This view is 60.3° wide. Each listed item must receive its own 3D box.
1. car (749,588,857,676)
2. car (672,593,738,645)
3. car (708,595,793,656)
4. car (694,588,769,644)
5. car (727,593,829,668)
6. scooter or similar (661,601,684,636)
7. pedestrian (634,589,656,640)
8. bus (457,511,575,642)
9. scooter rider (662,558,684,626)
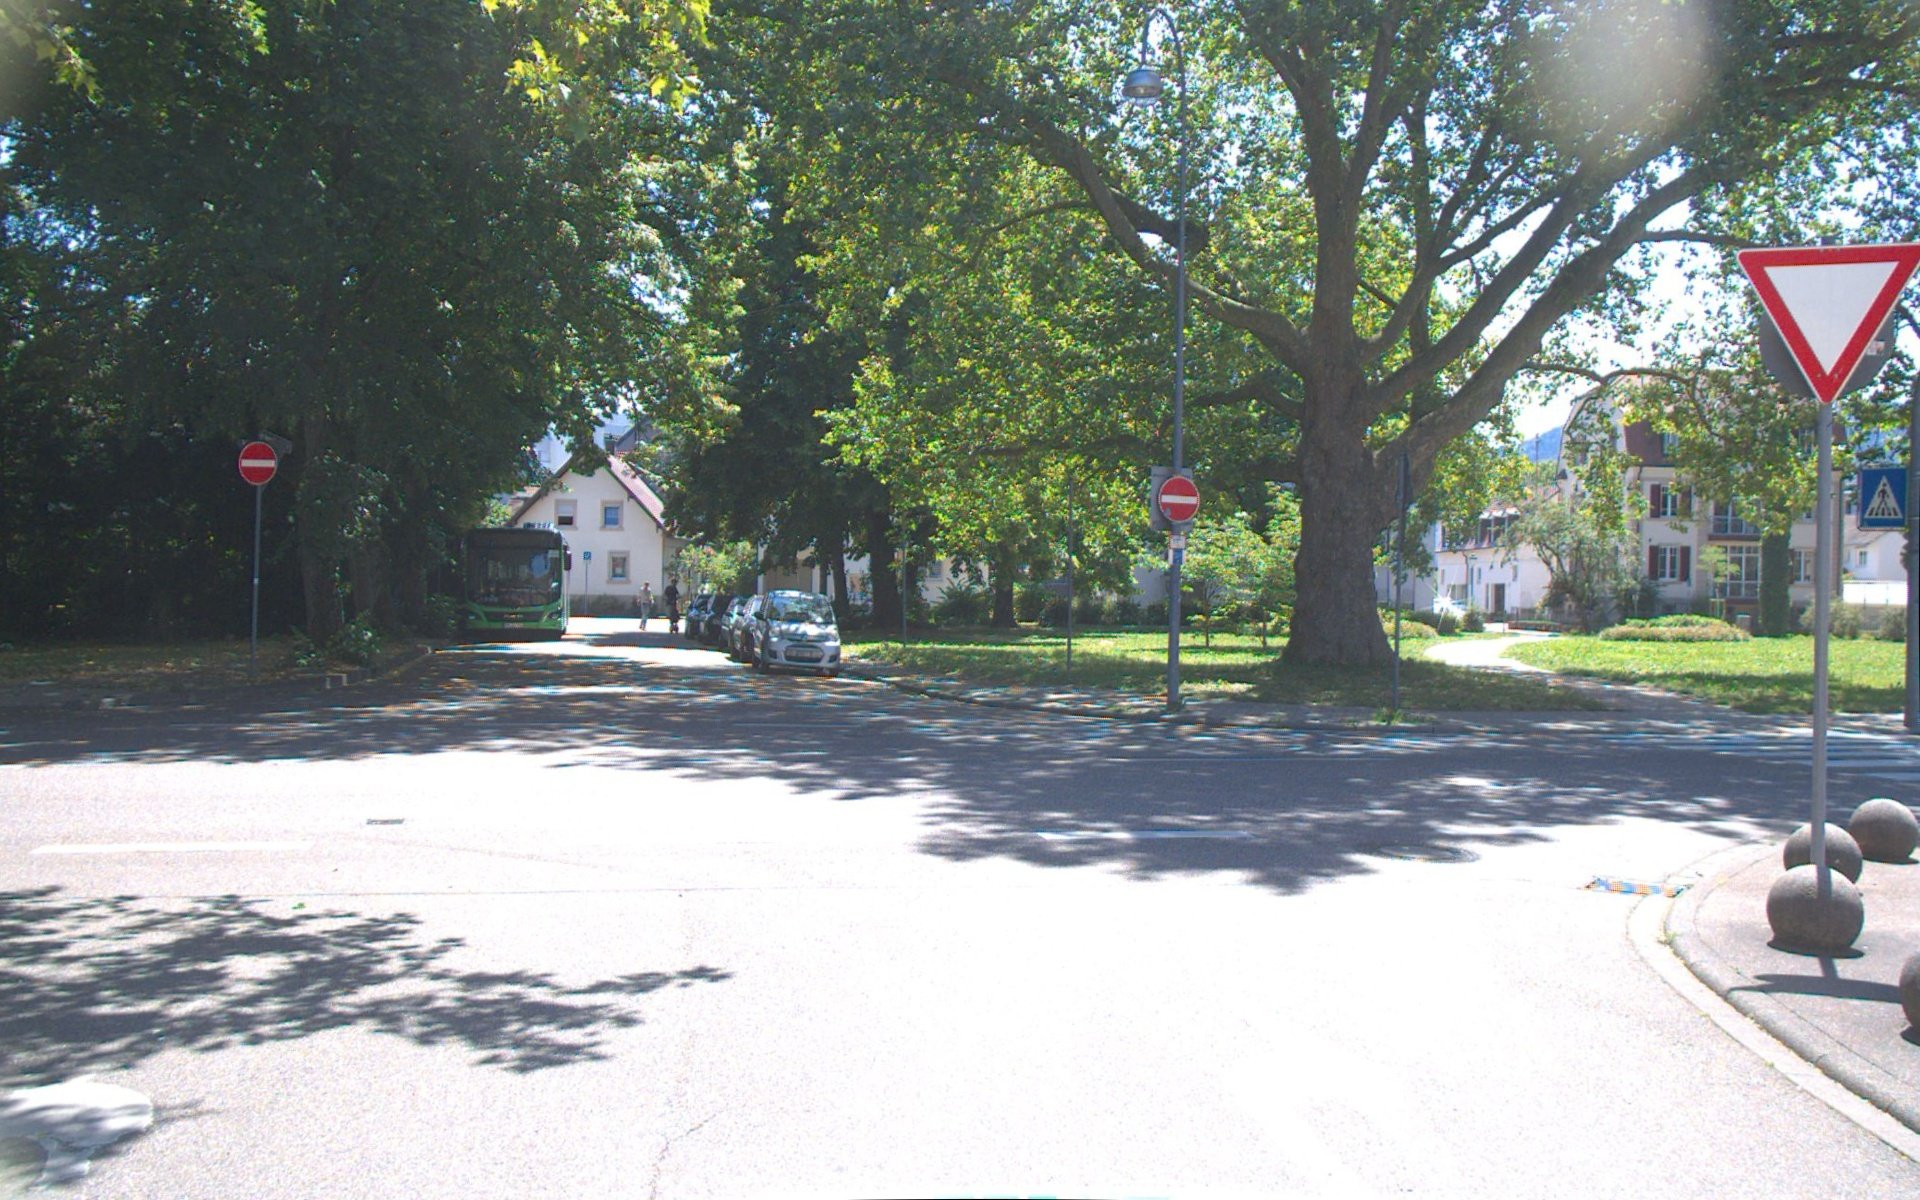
[{"bbox_3d":[-3.050,0.569,31.547,1.567,1.523,3.474,2,0,-13],"label":"car"},{"bbox_3d":[-8.016,0.580,51.794,1.724,1.519,3.904,1,0,-13],"label":"car"},{"bbox_3d":[-5.541,0.622,43.319,1.720,1.464,4.754,1,0,-13],"label":"car"},{"bbox_3d":[-6.663,0.437,47.921,1.724,1.519,4.361,1,0,-13],"label":"car"},{"bbox_3d":[-4.114,0.628,36.819,1.720,1.464,4.488,2,0,-13],"label":"car"},{"bbox_3d":[-10.106,0.637,58.085,0.725,1.204,1.515,1,0,-12],"label":"scooter or similar"},{"bbox_3d":[-11.578,0.532,60.737,0.706,1.833,0.939,1,0,-8],"label":"pedestrian"},{"bbox_3d":[-13.346,-0.664,50.794,2.818,3.352,15.899,1,0,-13],"label":"bus"},{"bbox_3d":[-10.091,-0.293,58.093,0.725,2.358,0.924,1,0,-12],"label":"scooter rider"}]
